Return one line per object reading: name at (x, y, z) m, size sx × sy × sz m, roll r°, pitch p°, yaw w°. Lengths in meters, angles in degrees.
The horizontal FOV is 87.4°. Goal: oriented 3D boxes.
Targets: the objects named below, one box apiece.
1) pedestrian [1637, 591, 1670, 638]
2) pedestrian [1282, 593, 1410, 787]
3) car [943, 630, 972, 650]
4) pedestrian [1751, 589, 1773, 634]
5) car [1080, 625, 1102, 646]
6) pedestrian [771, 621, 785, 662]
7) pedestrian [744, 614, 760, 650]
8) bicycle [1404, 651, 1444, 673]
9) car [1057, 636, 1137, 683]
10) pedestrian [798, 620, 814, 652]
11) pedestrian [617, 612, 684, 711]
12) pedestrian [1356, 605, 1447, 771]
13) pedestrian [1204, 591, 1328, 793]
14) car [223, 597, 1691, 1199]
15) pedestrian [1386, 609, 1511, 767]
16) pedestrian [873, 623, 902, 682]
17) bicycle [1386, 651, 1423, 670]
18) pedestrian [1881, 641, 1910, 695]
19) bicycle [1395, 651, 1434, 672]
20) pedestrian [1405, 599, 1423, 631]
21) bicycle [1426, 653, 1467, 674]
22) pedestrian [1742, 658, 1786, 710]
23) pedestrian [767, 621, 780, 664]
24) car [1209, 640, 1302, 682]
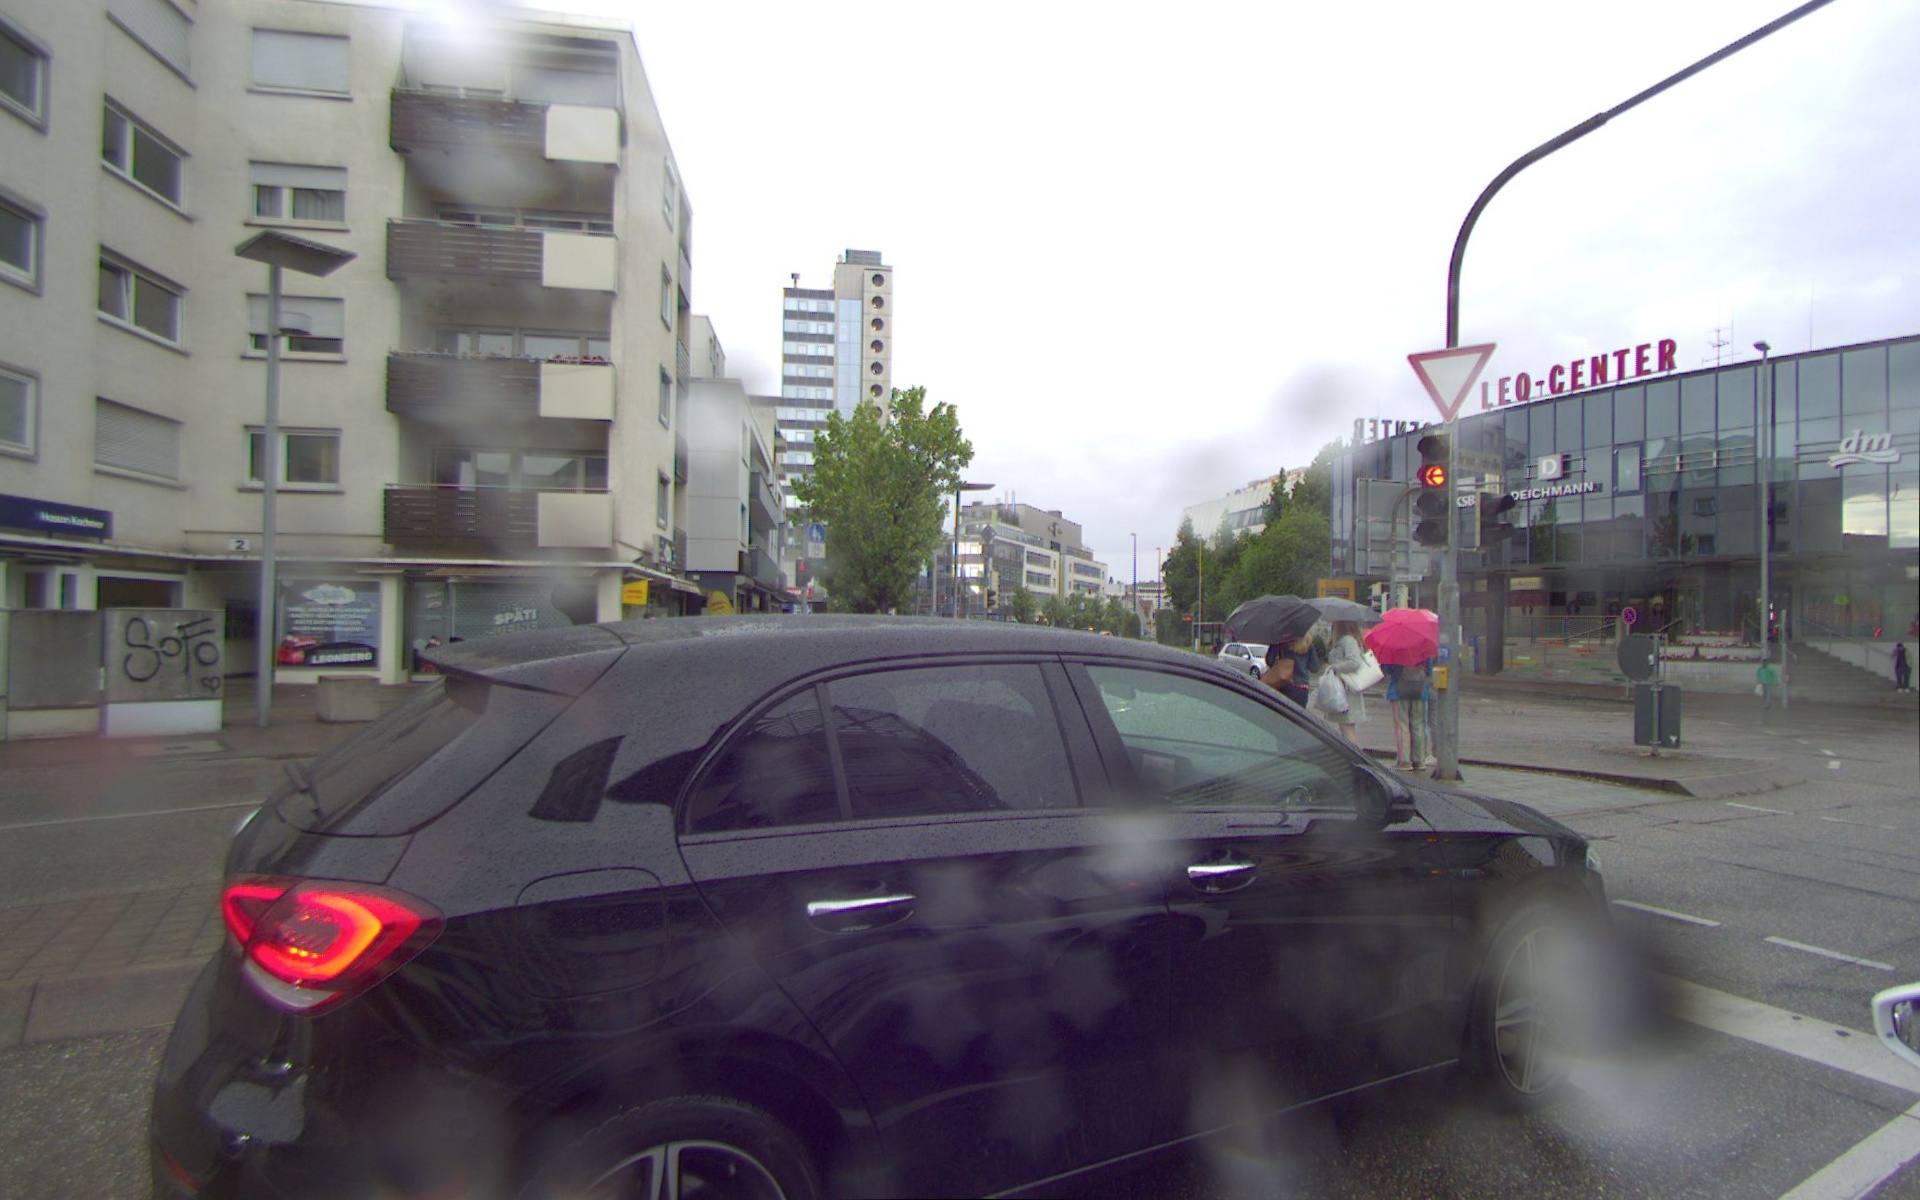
pedestrian at (30.762, 0.650, 44.563) m, size 0.815 × 2.040 × 0.953 m, roll 2°, pitch 0°, yaw 12°
pedestrian at (3.743, 0.845, 9.835) m, size 0.843 × 1.767 × 1.139 m, roll 1°, pitch -2°, yaw 3°
car at (-0.198, 2.915, 73.584) m, size 1.414 × 1.314 × 3.770 m, roll 2°, pitch -1°, yaw -11°
pedestrian at (33.509, 0.470, 41.977) m, size 0.625 × 1.831 × 0.501 m, roll 2°, pitch 0°, yaw 43°
car at (12.475, 3.393, 96.057) m, size 2.008 × 1.921 × 4.141 m, roll 1°, pitch -1°, yaw 6°
pedestrian at (-8.173, 1.847, 45.132) m, size 0.557 × 1.817 × 0.491 m, roll 1°, pitch -2°, yaw -4°
pedestrian at (-11.936, 1.825, 57.630) m, size 0.859 × 2.040 × 0.923 m, roll 1°, pitch -1°, yaw -10°
bicycle at (24.080, 3.220, 52.148) m, size 1.822 × 1.056 × 0.646 m, roll -1°, pitch -1°, yaw -12°
car at (4.769, 2.053, 35.633) m, size 2.082 × 1.432 × 5.147 m, roll 2°, pitch -2°, yaw 0°
pedestrian at (-8.942, 2.092, 58.207) m, size 0.859 × 1.835 × 0.923 m, roll 1°, pitch -1°, yaw -10°
pedestrian at (-5.187, 1.025, 16.856) m, size 0.904 × 1.606 × 0.651 m, roll 2°, pitch -2°, yaw -33°
pedestrian at (4.745, 0.924, 10.836) m, size 0.790 × 1.707 × 0.674 m, roll 1°, pitch -2°, yaw 14°
pedestrian at (2.870, 0.820, 9.384) m, size 0.937 × 1.759 × 0.835 m, roll 0°, pitch -2°, yaw 30°
car at (0.343, 0.781, 3.076) m, size 4.048 × 1.501 × 1.654 m, roll 1°, pitch 1°, yaw -32°
pedestrian at (5.534, 0.966, 11.396) m, size 0.906 × 1.699 × 0.931 m, roll 2°, pitch -2°, yaw -30°
pedestrian at (-2.112, 1.520, 29.250) m, size 0.799 × 1.677 × 0.714 m, roll 1°, pitch -2°, yaw -3°
bicycle at (23.697, 3.224, 53.556) m, size 1.821 × 0.964 × 0.535 m, roll -1°, pitch 0°, yaw -8°
pedestrian at (34.101, 2.473, 36.605) m, size 0.589 × 1.933 × 0.651 m, roll 2°, pitch -1°, yaw -37°
bicycle at (23.927, 3.224, 52.891) m, size 1.822 × 1.047 × 0.628 m, roll -1°, pitch -1°, yaw -12°
pedestrian at (24.982, 0.842, 55.265) m, size 0.642 × 1.736 × 0.599 m, roll 2°, pitch 0°, yaw -6°
bicycle at (24.480, 3.183, 50.524) m, size 1.822 × 1.036 × 0.631 m, roll 0°, pitch -2°, yaw -12°
pedestrian at (26.560, 2.750, 33.173) m, size 0.800 × 1.644 × 0.943 m, roll 2°, pitch -2°, yaw -33°
pedestrian at (-7.602, 1.739, 40.959) m, size 0.441 × 1.746 × 0.499 m, roll 1°, pitch -2°, yaw -12°
car at (11.655, 2.378, 39.855) m, size 1.717 × 1.460 × 3.980 m, roll 2°, pitch -1°, yaw -15°
